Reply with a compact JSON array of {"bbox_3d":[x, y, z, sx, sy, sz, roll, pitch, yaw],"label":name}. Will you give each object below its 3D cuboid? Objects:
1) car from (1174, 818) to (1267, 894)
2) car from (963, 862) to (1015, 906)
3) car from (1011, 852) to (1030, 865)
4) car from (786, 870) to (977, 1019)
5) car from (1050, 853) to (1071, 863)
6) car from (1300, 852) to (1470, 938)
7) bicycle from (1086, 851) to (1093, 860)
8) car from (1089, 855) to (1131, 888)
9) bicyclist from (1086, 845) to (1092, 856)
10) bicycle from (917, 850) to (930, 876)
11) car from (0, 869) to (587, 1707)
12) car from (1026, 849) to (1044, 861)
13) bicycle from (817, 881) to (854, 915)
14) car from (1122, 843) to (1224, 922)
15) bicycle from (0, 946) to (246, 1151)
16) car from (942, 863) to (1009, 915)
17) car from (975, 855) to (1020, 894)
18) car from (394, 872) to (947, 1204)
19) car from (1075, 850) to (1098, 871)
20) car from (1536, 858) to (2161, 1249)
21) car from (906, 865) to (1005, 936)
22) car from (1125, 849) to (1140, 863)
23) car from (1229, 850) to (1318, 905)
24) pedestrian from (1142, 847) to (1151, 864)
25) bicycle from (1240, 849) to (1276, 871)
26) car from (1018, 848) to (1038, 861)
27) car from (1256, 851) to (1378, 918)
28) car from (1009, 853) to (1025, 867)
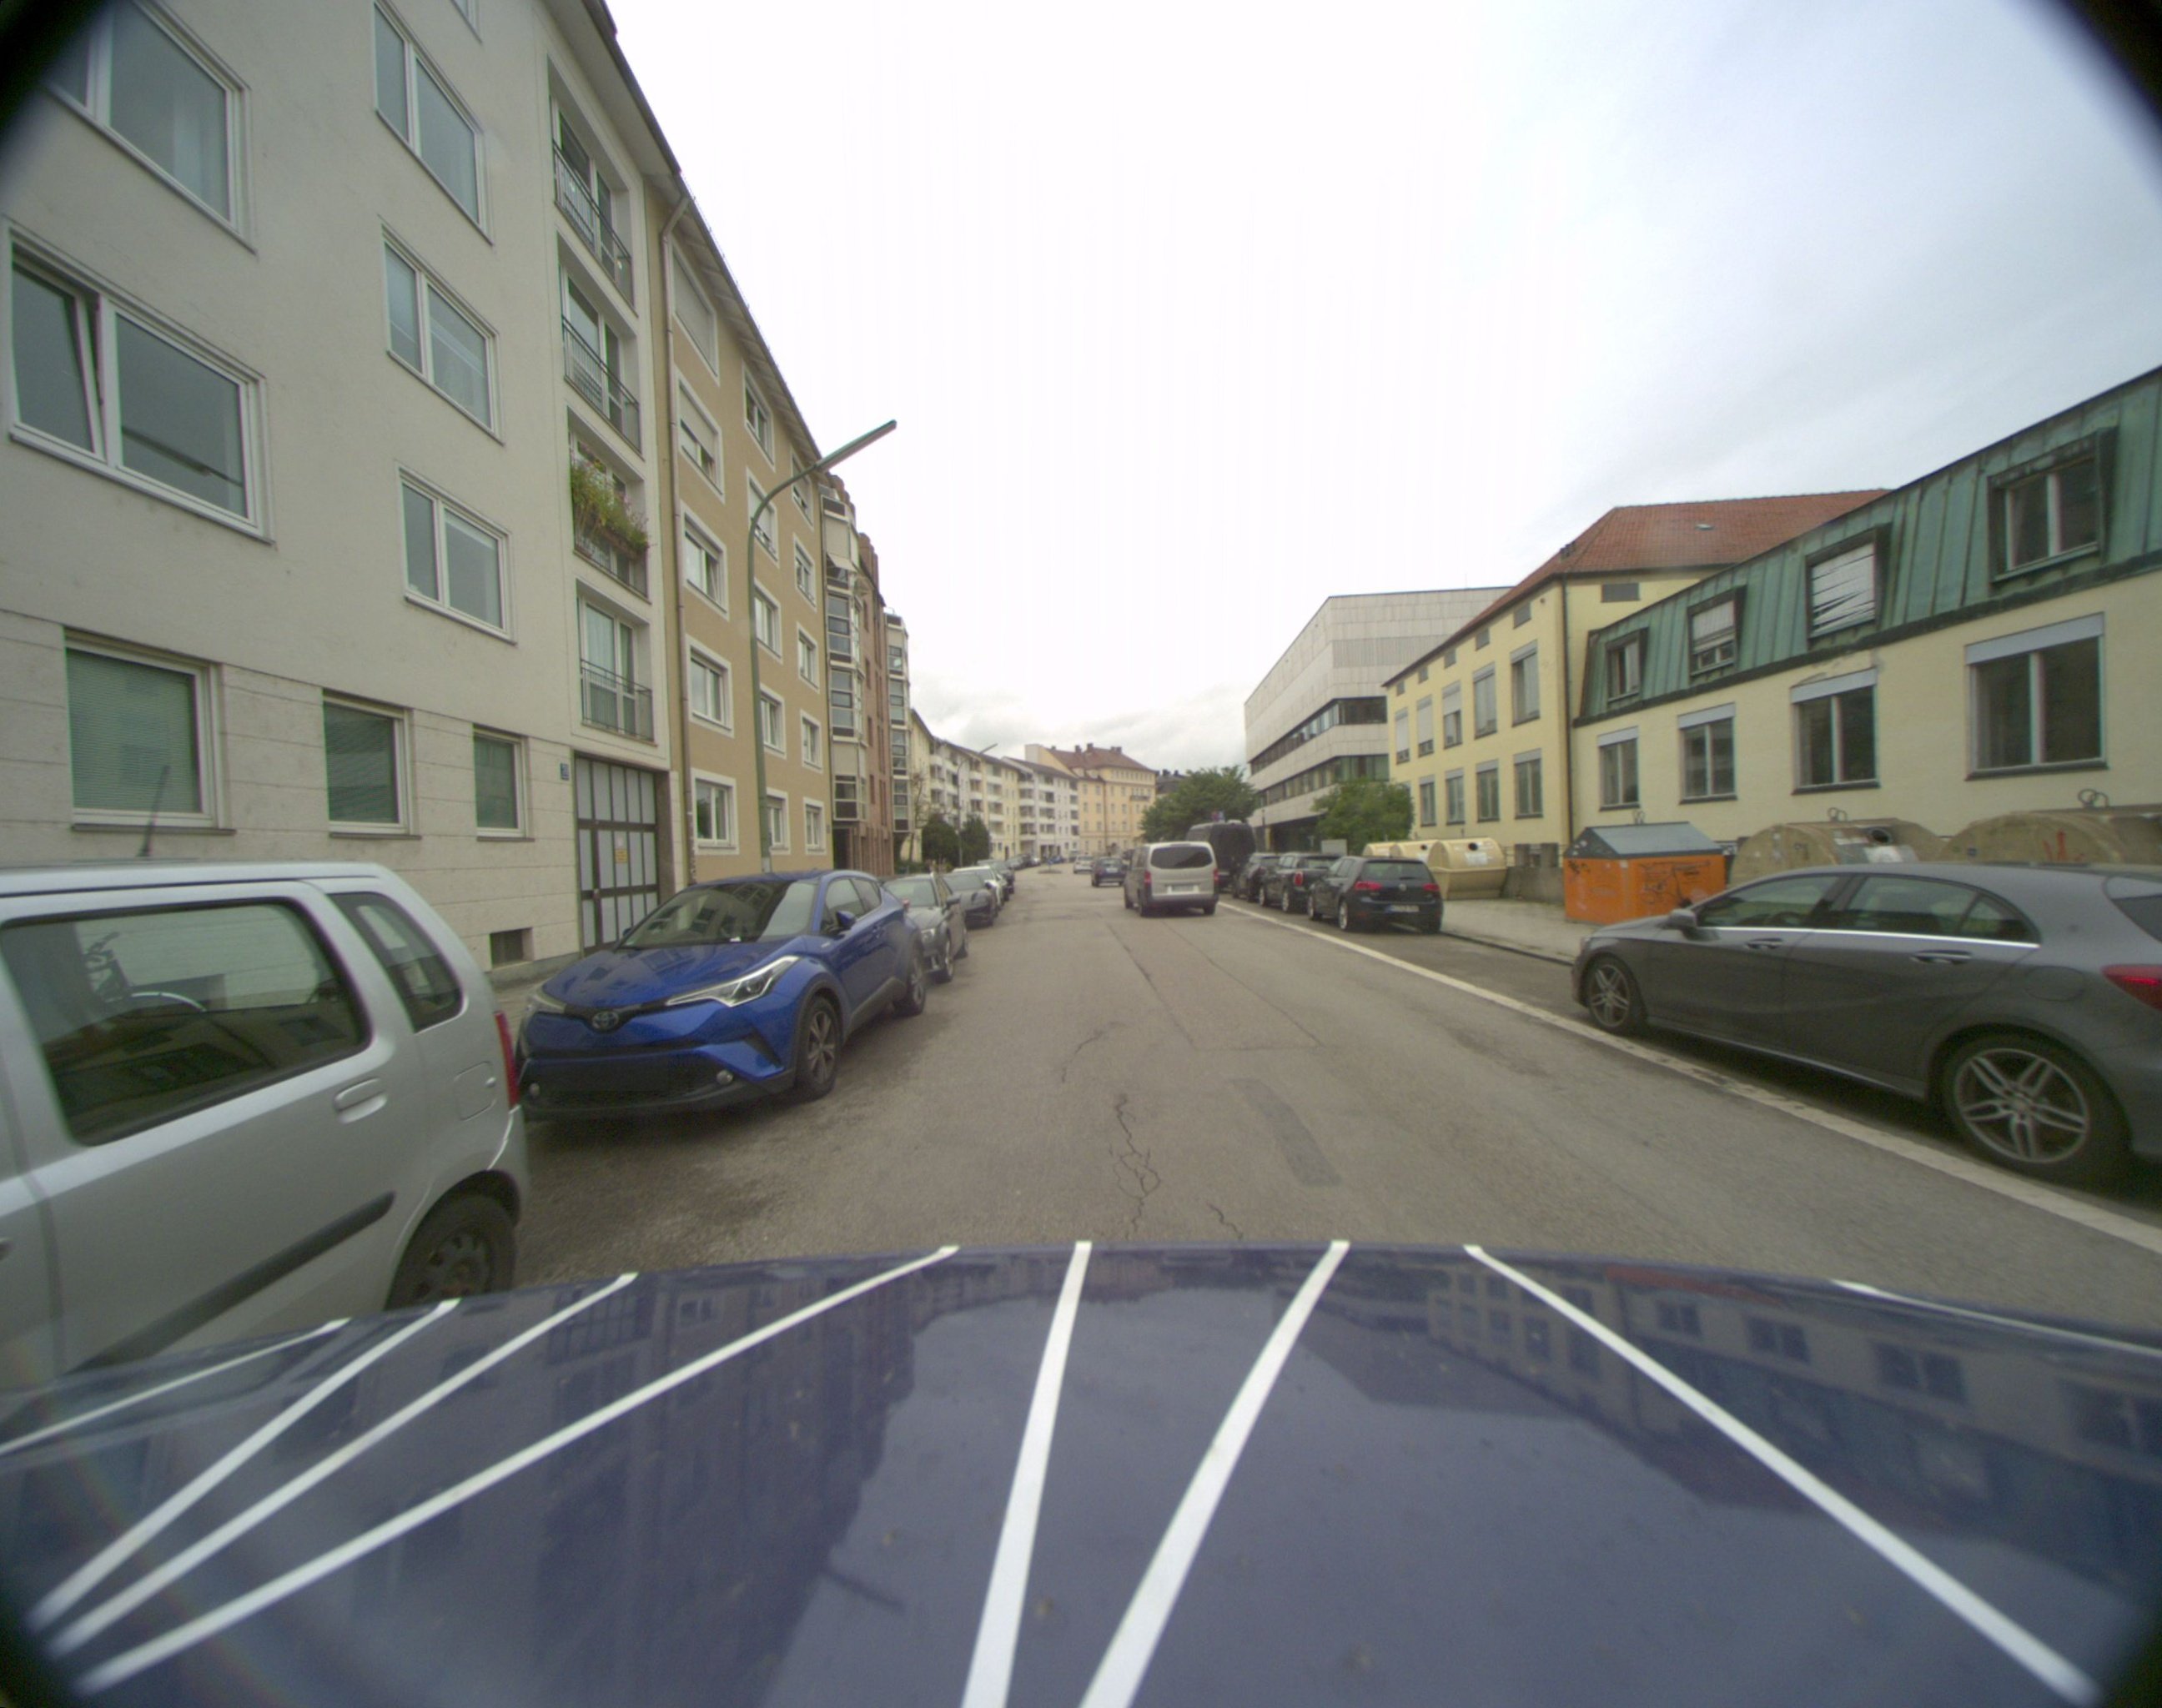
[{"bbox_3d":[5.576,0.042,31.365,2.219,2.837,6.193,0,1,-5],"label":"car"},{"bbox_3d":[-3.712,1.145,30.684,1.762,1.358,4.777,-7,1,-7],"label":"car"},{"bbox_3d":[-7.433,0.568,93.663,1.824,1.467,4.000,-3,0,2],"label":"car"},{"bbox_3d":[-2.595,1.090,10.962,1.710,1.446,4.400,-6,0,-4],"label":"car"},{"bbox_3d":[-3.267,0.628,122.747,1.680,1.281,4.006,-2,1,28],"label":"car"},{"bbox_3d":[5.958,0.711,15.543,1.918,1.473,4.532,0,0,4],"label":"car"},{"bbox_3d":[1.030,0.204,93.542,0.707,1.042,1.463,-2,0,-4],"label":"bicycle"},{"bbox_3d":[1.425,0.829,38.354,1.666,1.466,3.706,-3,1,-4],"label":"car"},{"bbox_3d":[1.002,-0.443,93.469,0.618,1.343,0.832,-3,1,-4],"label":"bicyclist"},{"bbox_3d":[-12.533,0.693,60.562,0.653,2.002,1.992,-3,1,-4],"label":"bicycle"},{"bbox_3d":[-2.606,0.953,0.874,1.686,1.664,3.802,-4,1,-5],"label":"car"},{"bbox_3d":[-6.376,0.147,106.463,1.998,1.630,4.000,-3,1,3],"label":"car"},{"bbox_3d":[-8.134,1.443,25.262,0.678,1.027,1.752,-2,1,-3],"label":"bicycle"},{"bbox_3d":[2.330,0.670,20.689,1.921,1.837,5.319,-2,0,-2],"label":"car"},{"bbox_3d":[-6.950,1.292,5.140,0.530,1.065,1.999,-3,0,-7],"label":"bicycle"},{"bbox_3d":[-3.392,1.077,25.269,1.859,1.406,5.012,-3,0,-4],"label":"car"},{"bbox_3d":[-4.006,0.903,35.982,1.883,1.636,4.640,-3,1,-8],"label":"car"},{"bbox_3d":[-2.519,1.012,6.169,1.746,1.486,4.548,-3,0,3],"label":"car"},{"bbox_3d":[0.466,0.530,65.725,1.797,1.663,4.149,-2,0,-1],"label":"car"},{"bbox_3d":[5.217,0.786,4.769,2.019,1.410,4.615,0,1,1],"label":"car"},{"bbox_3d":[-3.110,1.097,19.876,1.960,1.406,5.111,-3,1,-4],"label":"car"},{"bbox_3d":[8.375,0.312,123.892,1.891,2.002,4.003,-3,1,11],"label":"car"},{"bbox_3d":[6.160,0.687,24.813,1.885,1.627,4.349,0,0,1],"label":"car"},{"bbox_3d":[7.056,0.119,82.257,0.787,1.776,0.516,-3,1,-4],"label":"pedestrian"},{"bbox_3d":[9.834,0.333,42.313,1.815,1.145,0.519,-3,1,1],"label":"bicycle"},{"bbox_3d":[-6.862,0.080,98.352,1.998,1.587,4.001,-3,1,5],"label":"car"},{"bbox_3d":[6.127,0.748,20.304,1.918,1.578,4.352,1,0,0],"label":"car"},{"bbox_3d":[-7.455,0.657,88.557,1.755,1.483,3.998,-3,1,-4],"label":"car"}]
